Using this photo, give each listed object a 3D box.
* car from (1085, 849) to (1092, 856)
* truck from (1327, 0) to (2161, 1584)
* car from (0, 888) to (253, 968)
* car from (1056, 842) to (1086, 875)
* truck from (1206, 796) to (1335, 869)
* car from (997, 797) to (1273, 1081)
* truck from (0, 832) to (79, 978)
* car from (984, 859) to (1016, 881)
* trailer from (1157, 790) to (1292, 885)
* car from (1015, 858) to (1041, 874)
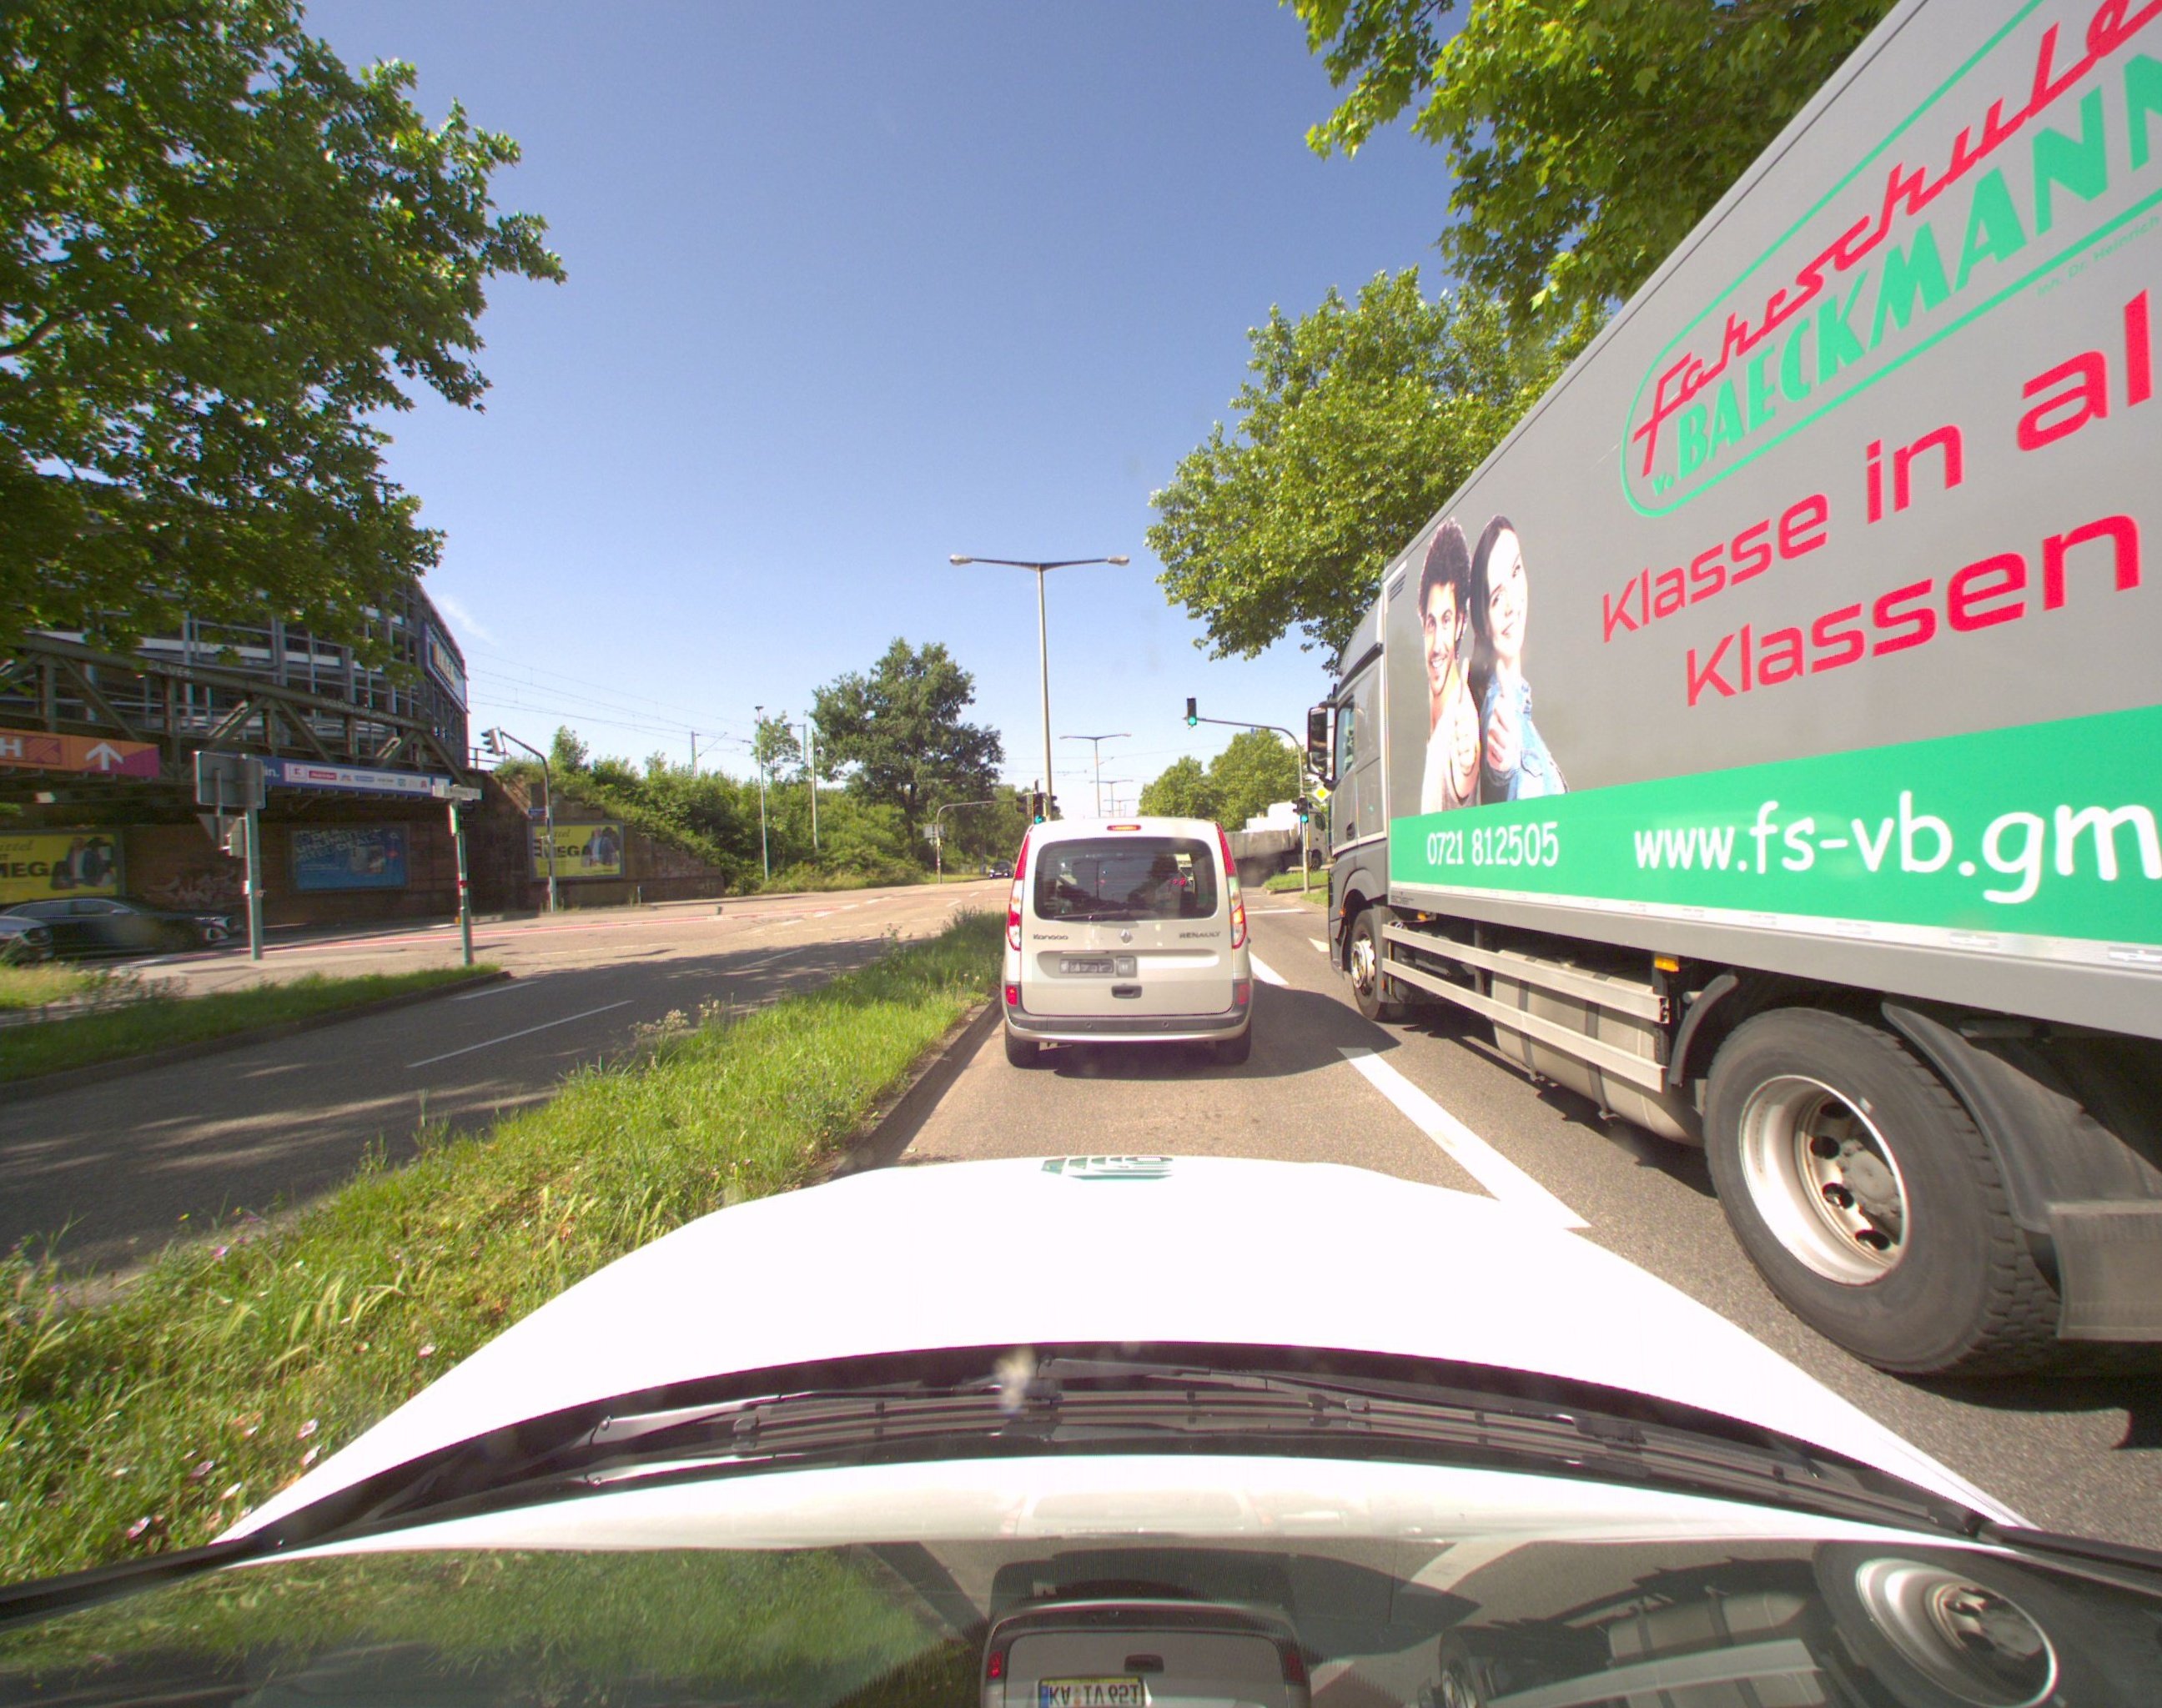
[{"bbox_3d":[2.363,-0.416,249.356,1.880,2.014,4.004,0,-1,4],"label":"car"},{"bbox_3d":[3.500,-0.592,3.567,2.717,3.889,8.732,-2,-1,4],"label":"truck"},{"bbox_3d":[-25.758,1.924,22.217,4.015,1.646,1.885,-4,1,-32],"label":"car"},{"bbox_3d":[-0.802,0.374,69.861,1.984,2.607,5.140,-3,-1,5],"label":"car"},{"bbox_3d":[10.304,-1.070,43.861,7.224,3.643,2.886,0,-1,-38],"label":"truck"},{"bbox_3d":[0.411,0.567,7.292,1.779,1.838,4.001,0,-1,2],"label":"car"},{"bbox_3d":[-26.316,1.277,16.629,6.890,3.105,2.196,-4,1,-32],"label":"truck"},{"bbox_3d":[-6.615,1.271,66.679,1.902,1.641,3.742,-3,-1,5],"label":"car"},{"bbox_3d":[7.020,-0.576,37.461,2.874,3.622,12.758,-1,-1,25],"label":"trailer"},{"bbox_3d":[-5.260,1.198,81.623,1.984,1.540,4.241,-3,-1,5],"label":"car"}]
